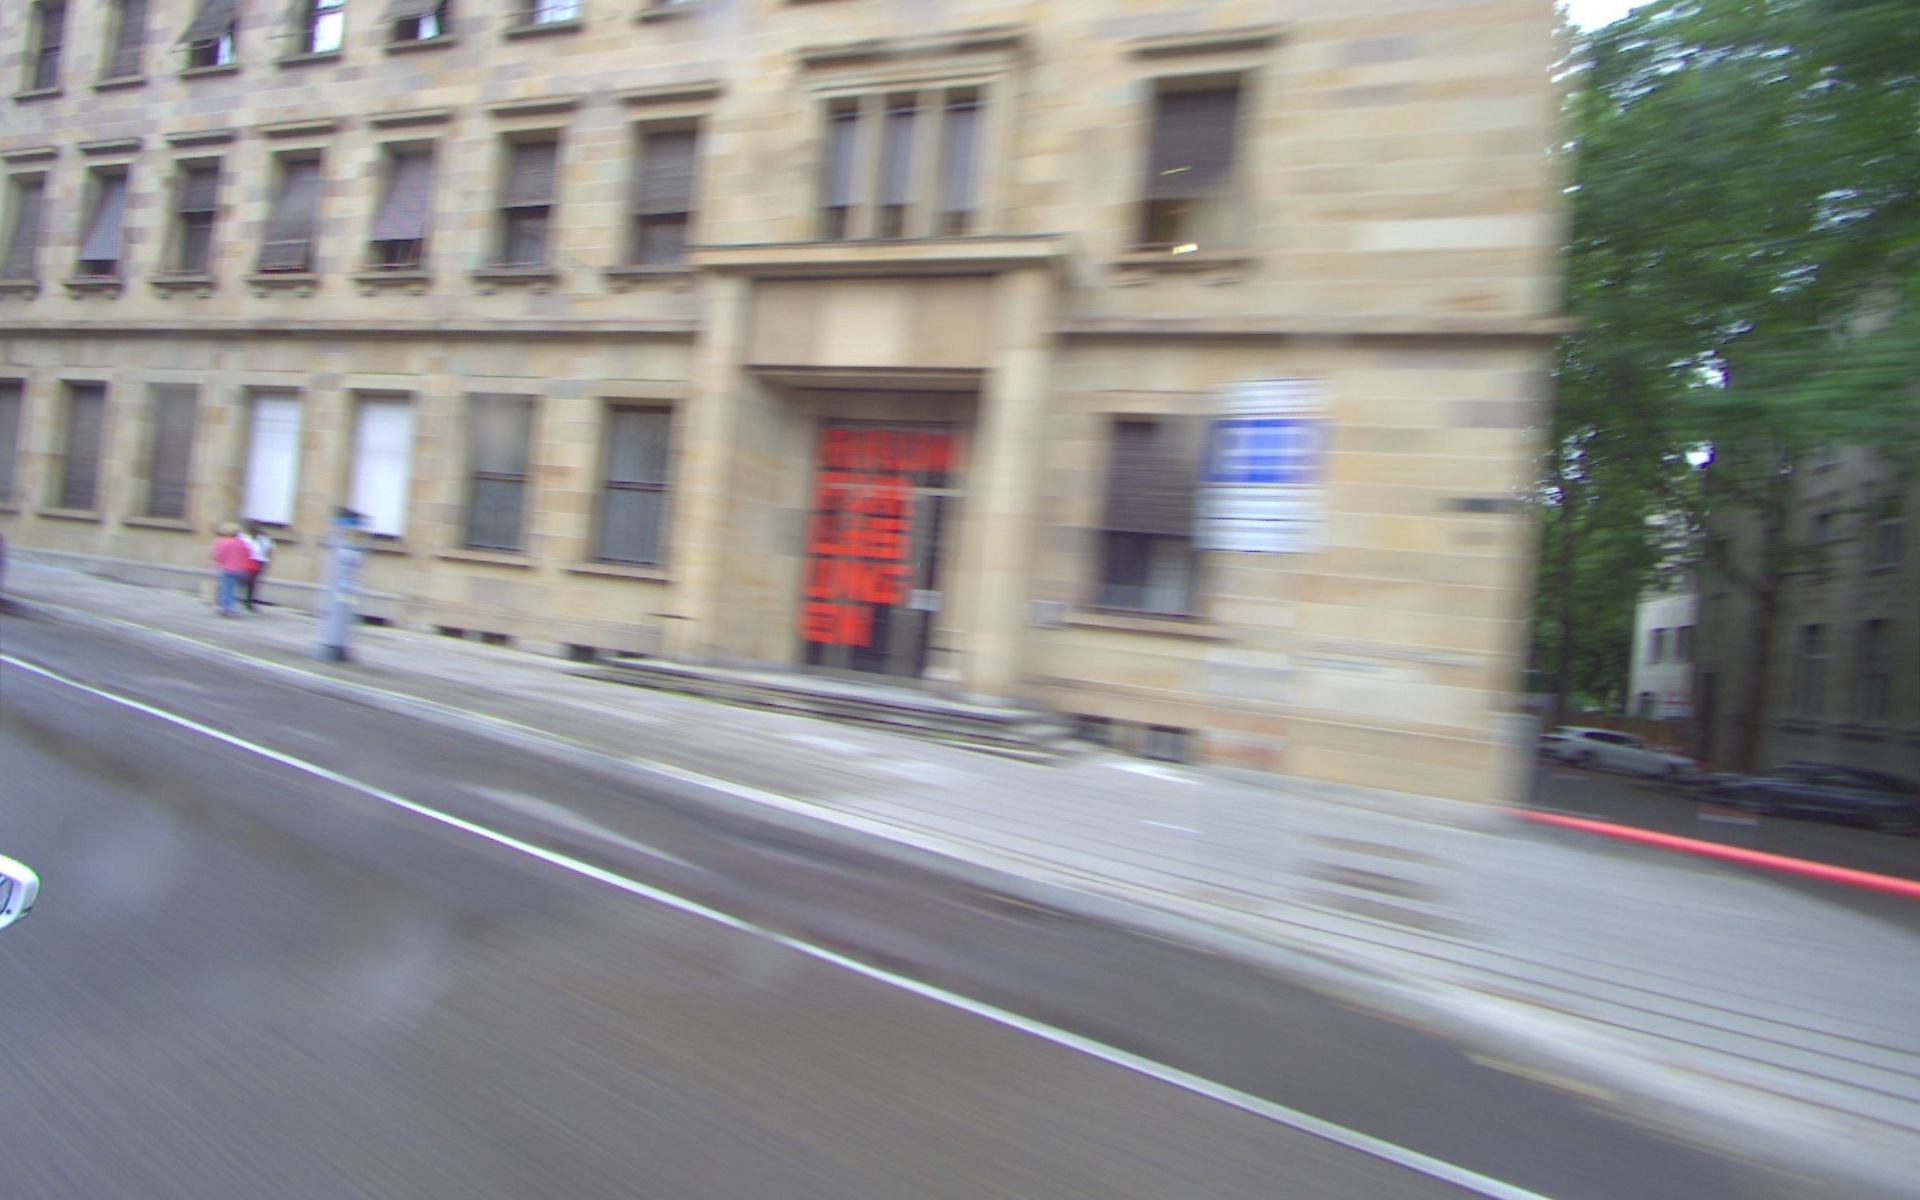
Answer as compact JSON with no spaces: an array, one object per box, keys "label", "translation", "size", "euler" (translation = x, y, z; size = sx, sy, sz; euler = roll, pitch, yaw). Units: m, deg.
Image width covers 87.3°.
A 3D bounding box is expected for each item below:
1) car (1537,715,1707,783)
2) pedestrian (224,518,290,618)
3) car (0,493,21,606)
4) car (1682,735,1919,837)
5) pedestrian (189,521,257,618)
[{"label":"car","translation":[23.824,5.344,36.389],"size":[4.589,1.482,1.888],"euler":[8,2,12]},{"label":"pedestrian","translation":[-12.085,-0.542,17.290],"size":[0.662,1.622,0.526],"euler":[7,0,26]},{"label":"car","translation":[-16.240,-1.003,15.147],"size":[4.086,1.638,1.773],"euler":[6,-2,29]},{"label":"car","translation":[20.729,4.512,24.595],"size":[4.456,1.482,1.888],"euler":[8,2,15]},{"label":"pedestrian","translation":[-12.267,-0.509,16.749],"size":[0.662,1.510,0.526],"euler":[7,0,26]}]
